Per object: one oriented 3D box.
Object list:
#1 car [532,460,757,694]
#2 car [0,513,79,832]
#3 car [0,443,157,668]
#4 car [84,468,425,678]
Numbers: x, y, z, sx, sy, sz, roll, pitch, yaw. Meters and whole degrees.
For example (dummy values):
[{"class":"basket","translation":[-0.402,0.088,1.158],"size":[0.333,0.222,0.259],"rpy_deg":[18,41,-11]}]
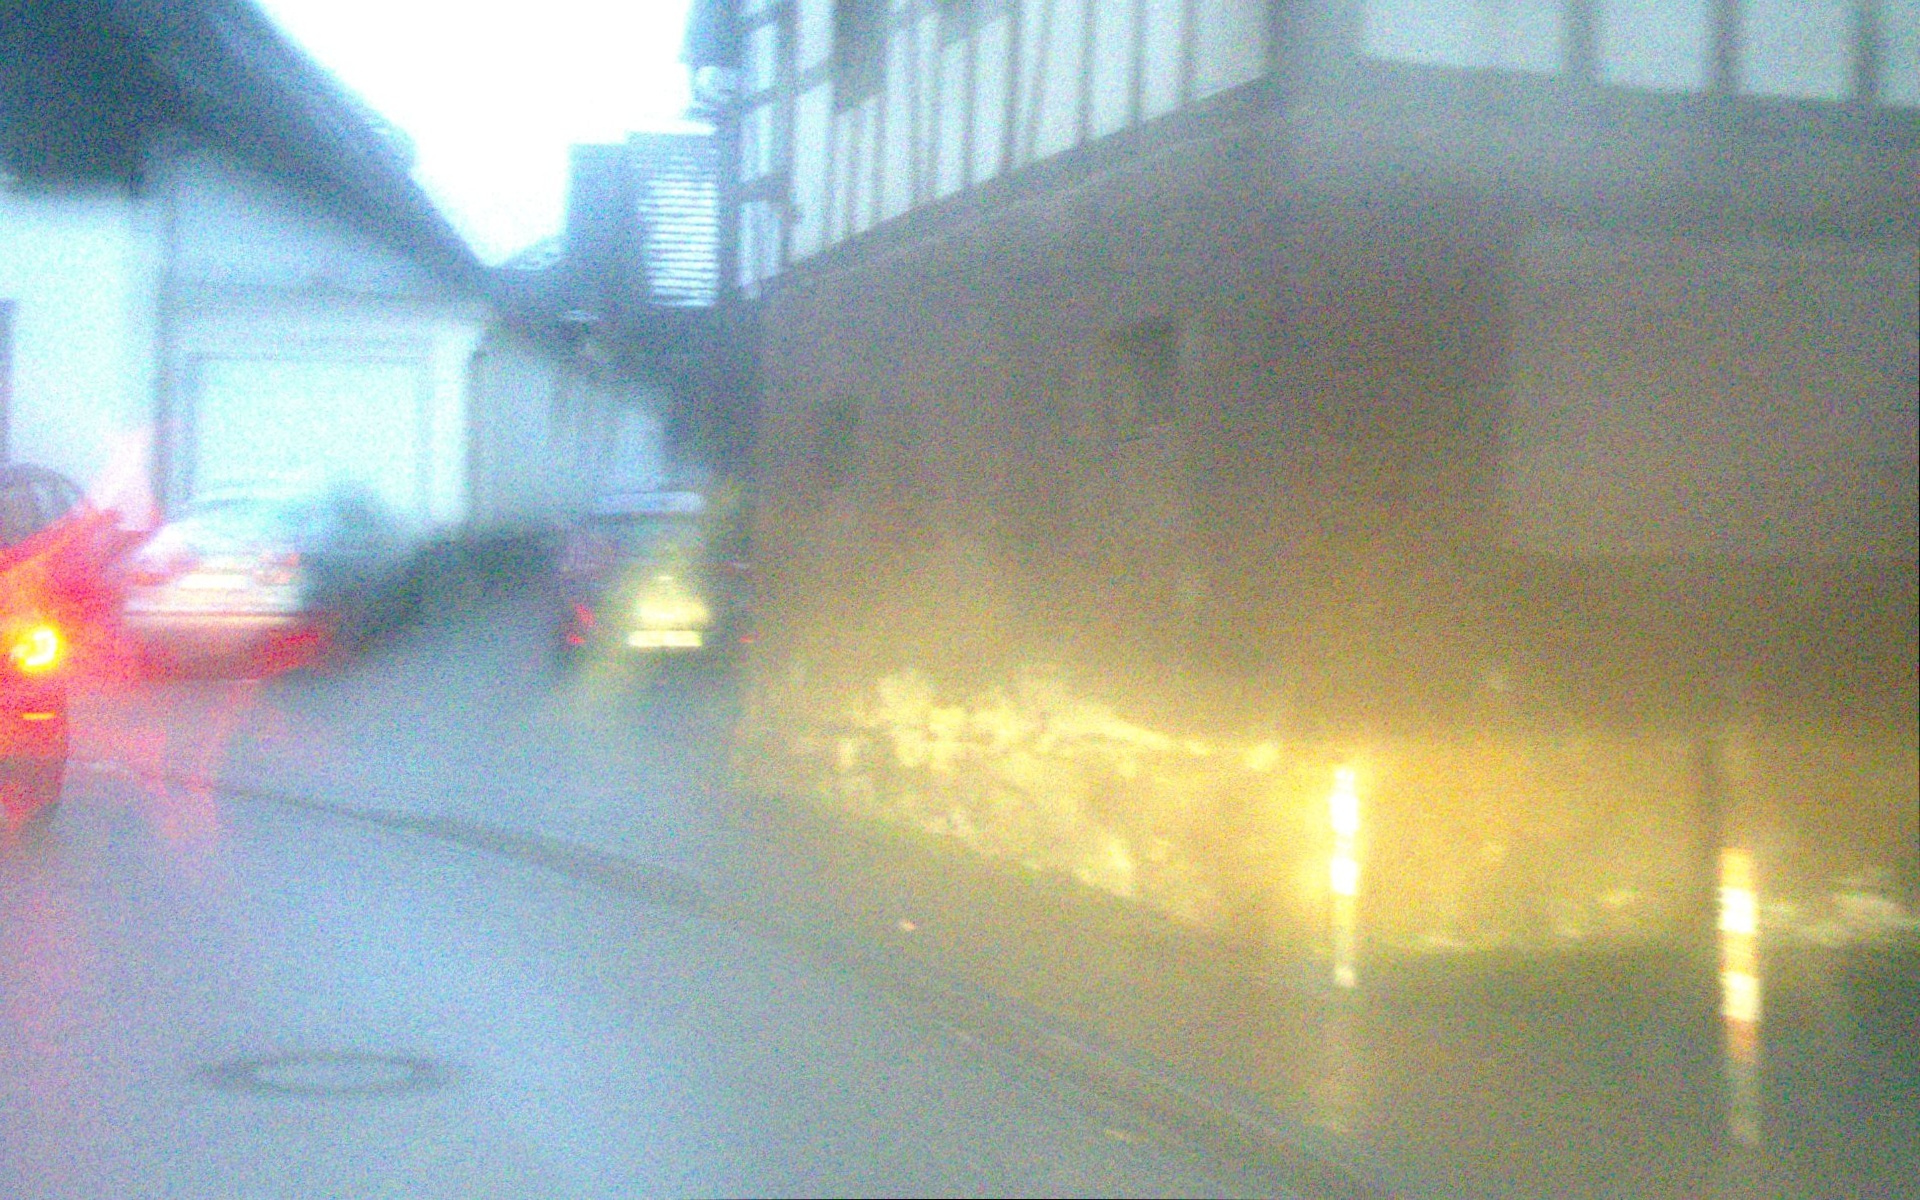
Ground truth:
[{"class":"car","translation":[-2.454,-0.248,27.088],"size":[1.592,1.510,3.986],"rpy_deg":[-2,5,-4]},{"class":"car","translation":[-5.645,0.272,17.127],"size":[1.546,1.461,3.699],"rpy_deg":[2,1,-28]},{"class":"car","translation":[-8.559,-0.446,30.164],"size":[1.849,1.654,4.478],"rpy_deg":[-1,5,1]},{"class":"car","translation":[-5.772,-0.283,28.600],"size":[1.809,1.415,4.039],"rpy_deg":[-1,5,2]}]
